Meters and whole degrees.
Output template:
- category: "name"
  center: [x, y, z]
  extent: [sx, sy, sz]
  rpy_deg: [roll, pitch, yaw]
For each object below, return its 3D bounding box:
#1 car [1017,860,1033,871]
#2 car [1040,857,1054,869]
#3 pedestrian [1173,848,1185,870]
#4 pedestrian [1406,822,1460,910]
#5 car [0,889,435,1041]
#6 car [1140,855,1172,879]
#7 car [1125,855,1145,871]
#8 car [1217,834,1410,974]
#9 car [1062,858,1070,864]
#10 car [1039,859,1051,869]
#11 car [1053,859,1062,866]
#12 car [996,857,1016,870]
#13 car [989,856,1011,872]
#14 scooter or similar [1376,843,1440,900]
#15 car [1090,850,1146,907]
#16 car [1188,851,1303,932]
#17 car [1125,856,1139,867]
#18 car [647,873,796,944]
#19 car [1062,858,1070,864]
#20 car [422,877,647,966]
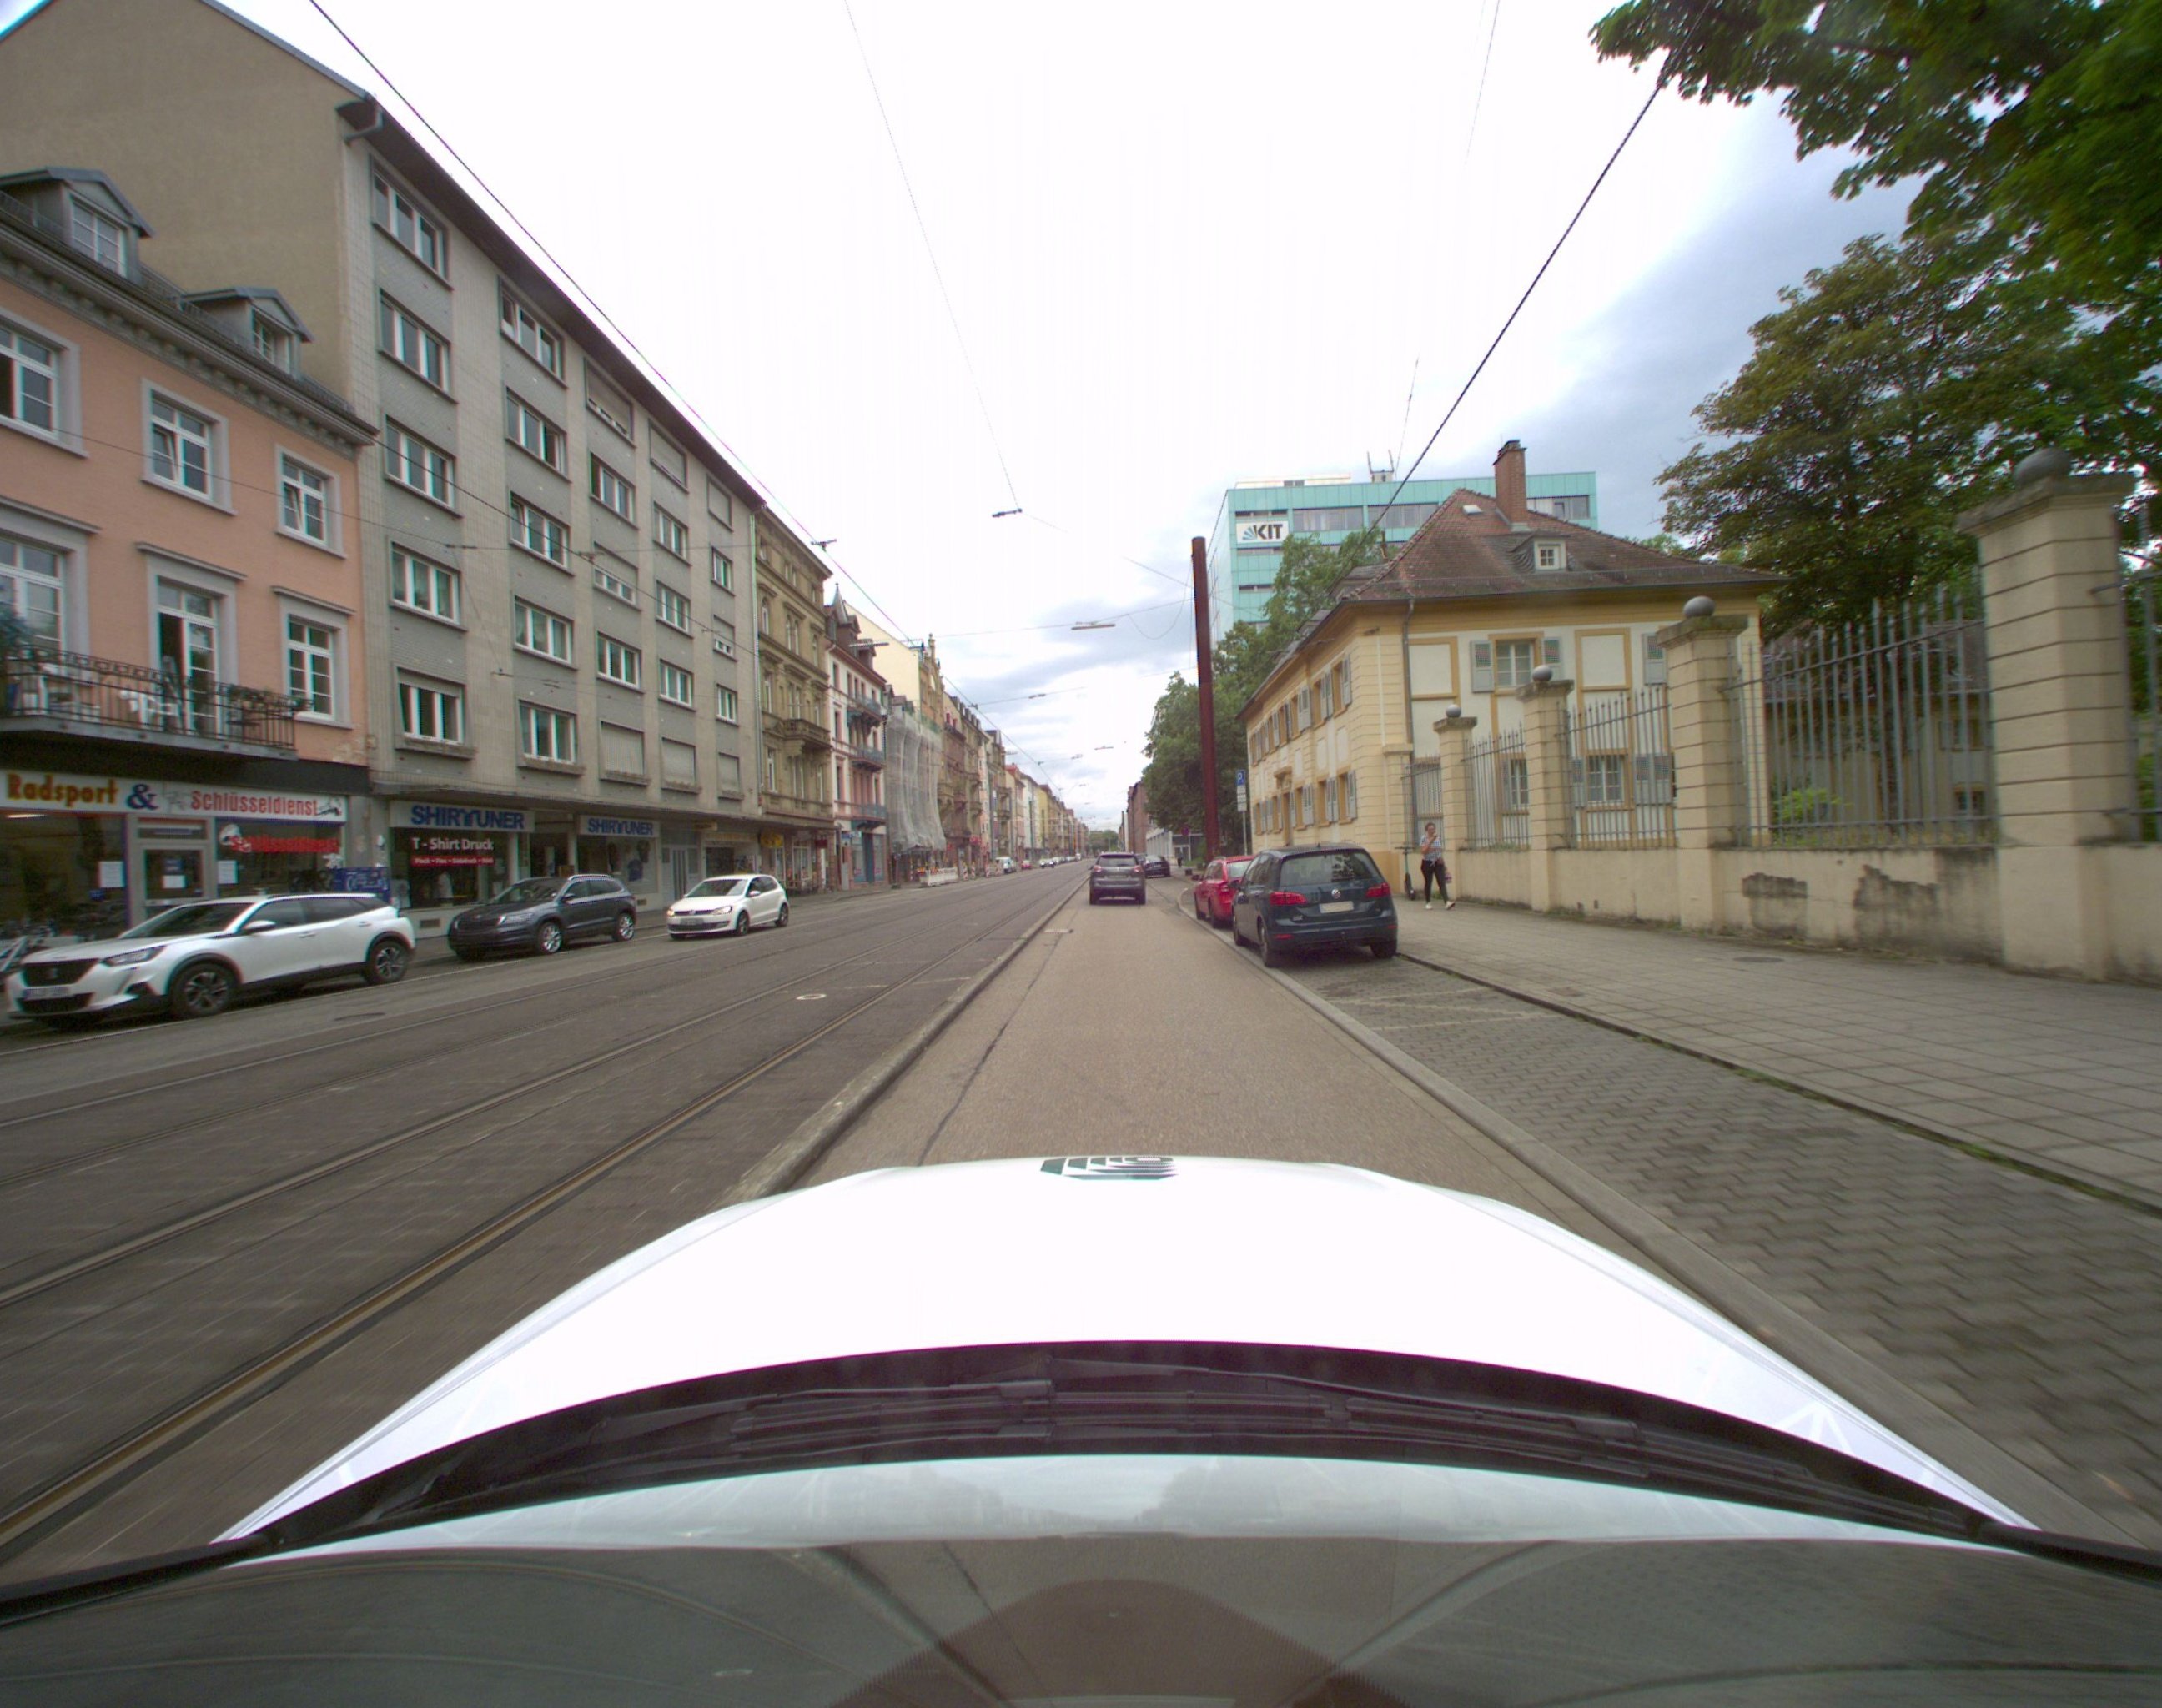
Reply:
- category: "car"
  center: [-8.072, 1.632, 117.517]
  extent: [1.988, 1.464, 3.997]
  rpy_deg: [-2, -1, -1]
- category: "car"
  center: [-5.191, 1.400, 124.352]
  extent: [1.988, 1.635, 3.997]
  rpy_deg: [-2, -1, -1]
- category: "pedestrian"
  center: [8.744, 0.467, 72.751]
  extent: [0.907, 1.886, 0.846]
  rpy_deg: [-2, -1, 1]
- category: "pedestrian"
  center: [7.028, 0.232, 16.308]
  extent: [0.639, 1.688, 0.891]
  rpy_deg: [-2, 0, 1]
- category: "car"
  center: [-11.848, 1.367, 11.511]
  extent: [1.769, 1.504, 4.403]
  rpy_deg: [-2, 0, 2]
- category: "car"
  center: [4.877, 0.817, 53.414]
  extent: [1.769, 1.420, 4.136]
  rpy_deg: [-2, 0, 2]
- category: "car"
  center: [5.204, 0.833, 79.291]
  extent: [1.769, 1.420, 4.136]
  rpy_deg: [-2, 0, 2]
- category: "car"
  center: [3.239, 0.635, 12.157]
  extent: [1.743, 1.596, 3.925]
  rpy_deg: [-5, 0, 2]
- category: "car"
  center: [-3.892, 1.846, 216.145]
  extent: [1.988, 1.266, 3.997]
  rpy_deg: [-2, -1, -1]
- category: "car"
  center: [-6.571, 1.834, 148.021]
  extent: [1.988, 1.635, 3.997]
  rpy_deg: [-2, -1, -1]
- category: "car"
  center: [-5.055, 1.830, 177.134]
  extent: [1.988, 1.266, 3.997]
  rpy_deg: [-2, -1, -1]
- category: "car"
  center: [-9.008, 1.210, 98.162]
  extent: [1.988, 1.464, 3.997]
  rpy_deg: [-2, -1, -1]
- category: "car"
  center: [-9.071, 1.104, 91.505]
  extent: [1.988, 1.706, 3.997]
  rpy_deg: [-2, -1, -1]
- category: "scooter or similar"
  center: [7.669, 0.415, 19.209]
  extent: [0.744, 1.250, 1.920]
  rpy_deg: [-2, -1, 2]
- category: "car"
  center: [1.212, 0.771, 27.327]
  extent: [1.743, 1.756, 3.925]
  rpy_deg: [0, 0, 2]
- category: "car"
  center: [3.481, 0.751, 17.955]
  extent: [1.743, 1.441, 3.925]
  rpy_deg: [-5, 0, 2]
- category: "car"
  center: [6.905, 1.003, 110.415]
  extent: [1.769, 1.420, 4.136]
  rpy_deg: [-2, 0, 2]
- category: "car"
  center: [-8.677, 1.248, 20.081]
  extent: [1.681, 1.420, 4.136]
  rpy_deg: [-2, 0, 2]
- category: "car"
  center: [-3.996, 1.904, 220.433]
  extent: [1.988, 1.266, 3.997]
  rpy_deg: [-2, -1, -1]
- category: "car"
  center: [-11.595, 1.349, 17.733]
  extent: [1.769, 1.504, 4.403]
  rpy_deg: [-2, 0, 2]
